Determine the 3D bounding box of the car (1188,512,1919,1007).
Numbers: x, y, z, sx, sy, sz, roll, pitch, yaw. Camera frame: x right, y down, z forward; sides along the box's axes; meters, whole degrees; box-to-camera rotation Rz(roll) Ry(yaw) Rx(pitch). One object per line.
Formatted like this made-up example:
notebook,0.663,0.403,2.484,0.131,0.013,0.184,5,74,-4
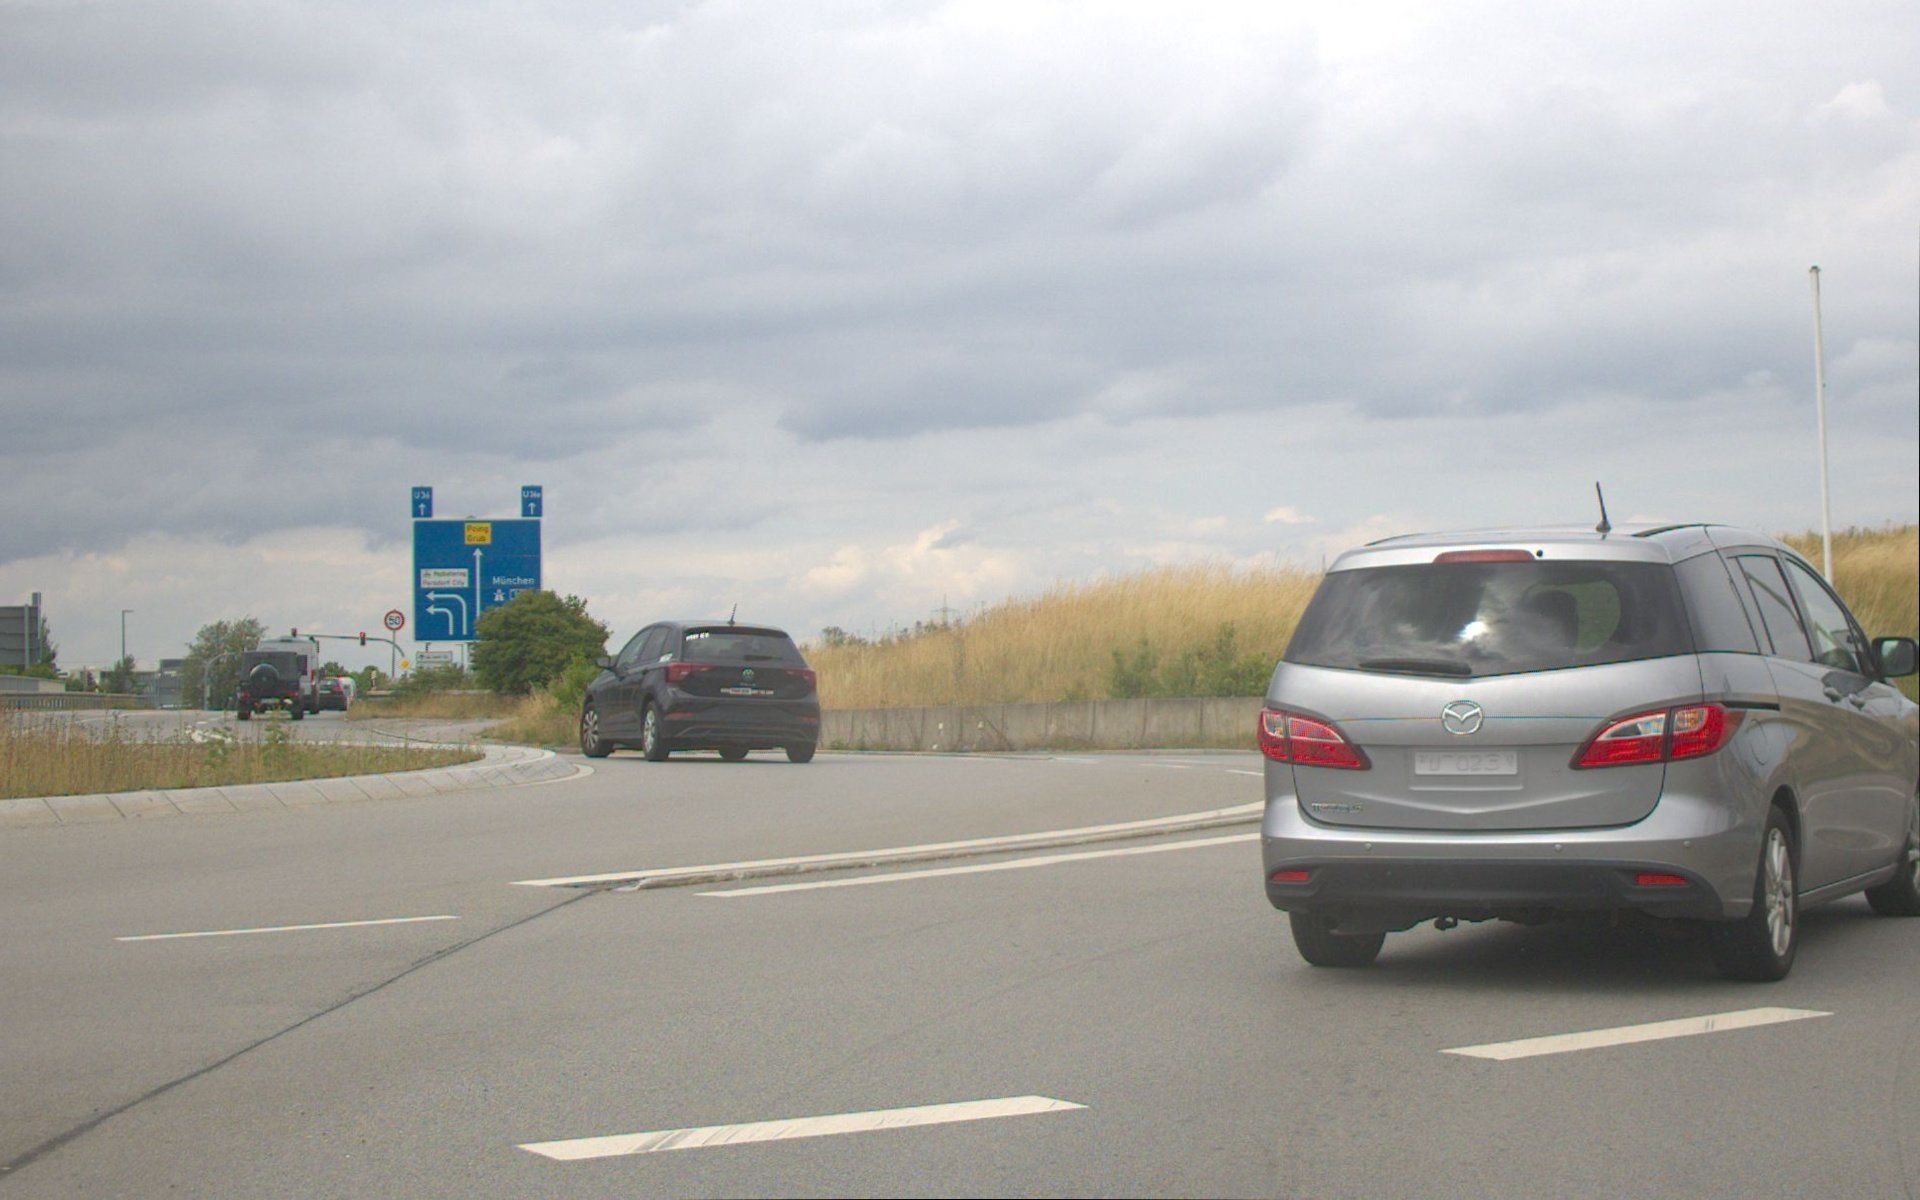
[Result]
car,2.521,0.525,13.114,1.914,1.569,3.994,-1,-1,26

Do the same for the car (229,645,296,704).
car,-19.912,2.108,98.091,1.598,1.543,4.047,-1,0,-15

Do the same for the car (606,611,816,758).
car,-2.640,0.836,35.682,1.661,1.373,4.001,-1,0,-11

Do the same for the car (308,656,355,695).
car,-26.485,3.165,144.893,1.598,1.543,4.047,-1,0,-15
